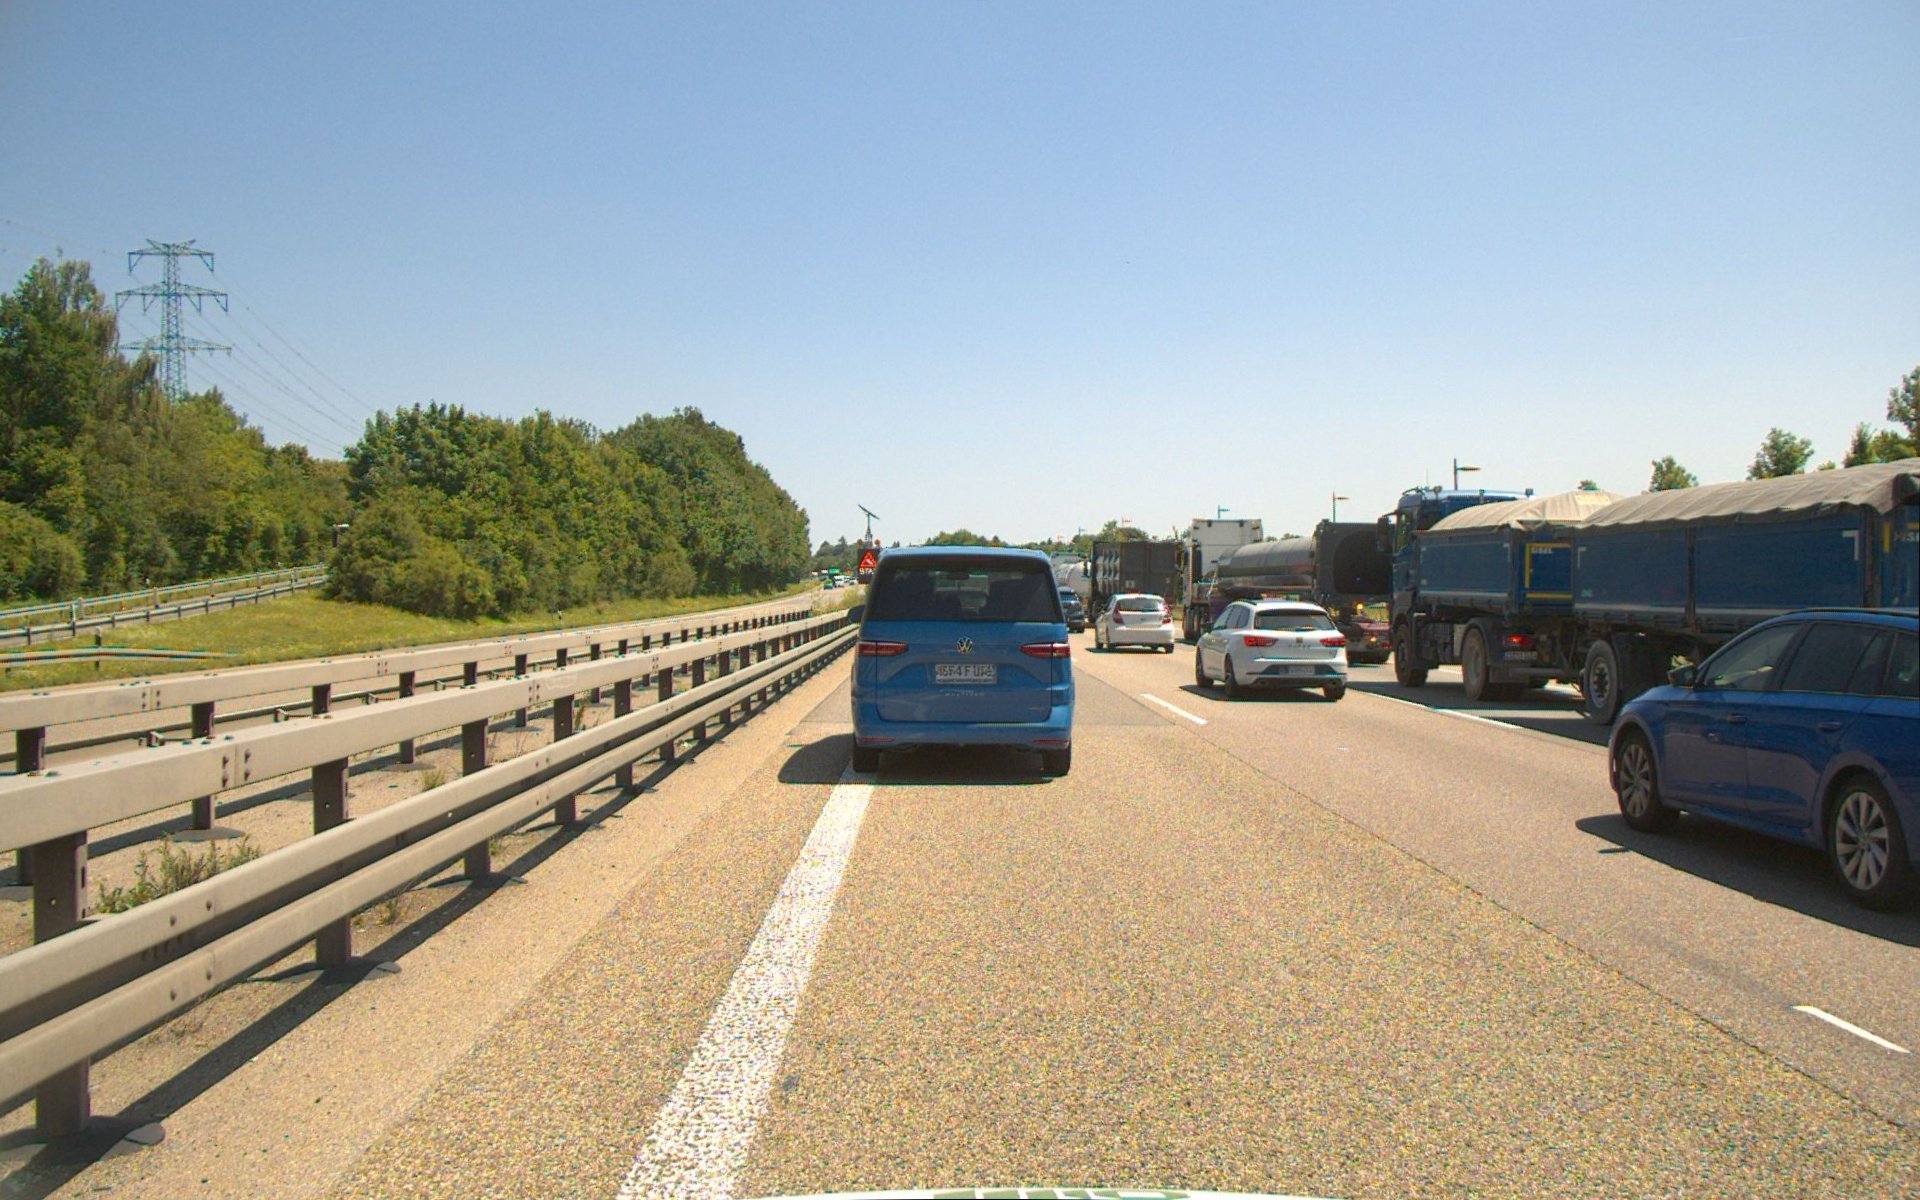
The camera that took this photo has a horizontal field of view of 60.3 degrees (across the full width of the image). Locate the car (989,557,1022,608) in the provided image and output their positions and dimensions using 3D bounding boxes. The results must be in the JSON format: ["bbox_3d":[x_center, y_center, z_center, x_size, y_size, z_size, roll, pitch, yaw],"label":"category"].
[{"bbox_3d":[4.915,-1.834,178.597,3.153,5.349,8.142,1,-1,-1],"label":"car"}]

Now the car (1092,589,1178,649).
[{"bbox_3d":[4.581,0.495,43.834,1.803,1.480,3.999,1,-1,-1],"label":"car"}]

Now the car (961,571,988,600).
[{"bbox_3d":[1.385,-1.381,162.631,2.499,2.765,5.620,1,-1,-1],"label":"car"}]

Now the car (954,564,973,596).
[{"bbox_3d":[0.568,-3.094,260.712,2.661,4.795,11.557,1,-1,-1],"label":"car"}]

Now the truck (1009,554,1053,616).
[{"bbox_3d":[5.909,-1.161,139.296,3.006,5.006,10.687,1,-1,-1],"label":"truck"}]

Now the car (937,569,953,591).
[{"bbox_3d":[-2.239,-3.000,250.693,2.435,3.260,7.371,1,-1,0],"label":"car"}]

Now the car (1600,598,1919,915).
[{"bbox_3d":[5.283,0.753,9.242,1.671,1.466,4.427,1,0,0],"label":"car"}]

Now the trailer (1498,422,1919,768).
[{"bbox_3d":[8.870,-0.019,18.405,2.688,2.886,9.114,1,0,-1],"label":"trailer"}]

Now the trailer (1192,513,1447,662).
[{"bbox_3d":[8.836,-0.201,43.477,3.571,3.133,15.773,1,0,1],"label":"trailer"}]

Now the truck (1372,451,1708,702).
[{"bbox_3d":[8.776,-0.298,26.048,2.688,3.370,7.131,1,0,-1],"label":"truck"}]

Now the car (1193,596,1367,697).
[{"bbox_3d":[4.816,0.657,25.442,1.830,1.385,3.999,1,0,-1],"label":"car"}]

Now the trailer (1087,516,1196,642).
[{"bbox_3d":[8.176,-0.836,76.310,3.571,5.226,13.075,1,-1,0],"label":"trailer"}]

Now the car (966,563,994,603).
[{"bbox_3d":[2.808,-2.285,230.256,3.155,5.349,8.137,1,-1,-4],"label":"car"}]

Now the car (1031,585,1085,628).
[{"bbox_3d":[3.712,0.241,63.045,1.745,1.551,3.999,1,-1,-1],"label":"car"}]

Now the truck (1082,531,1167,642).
[{"bbox_3d":[8.152,-0.633,82.698,3.584,5.270,5.707,1,-1,-1],"label":"truck"}]

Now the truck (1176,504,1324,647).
[{"bbox_3d":[9.070,-0.691,52.746,3.551,4.166,7.525,1,-1,2],"label":"truck"}]

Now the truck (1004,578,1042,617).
[{"bbox_3d":[3.154,-0.088,83.736,1.690,1.890,3.999,1,-1,-1],"label":"truck"}]

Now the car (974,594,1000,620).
[{"bbox_3d":[2.199,0.598,135.621,1.953,2.049,3.999,1,-1,-1],"label":"car"}]

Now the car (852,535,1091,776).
[{"bbox_3d":[0.113,0.454,15.097,1.862,1.870,4.000,1,-1,0],"label":"car"}]

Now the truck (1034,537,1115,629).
[{"bbox_3d":[6.970,-0.919,103.407,3.548,5.304,15.684,1,0,-1],"label":"truck"}]
